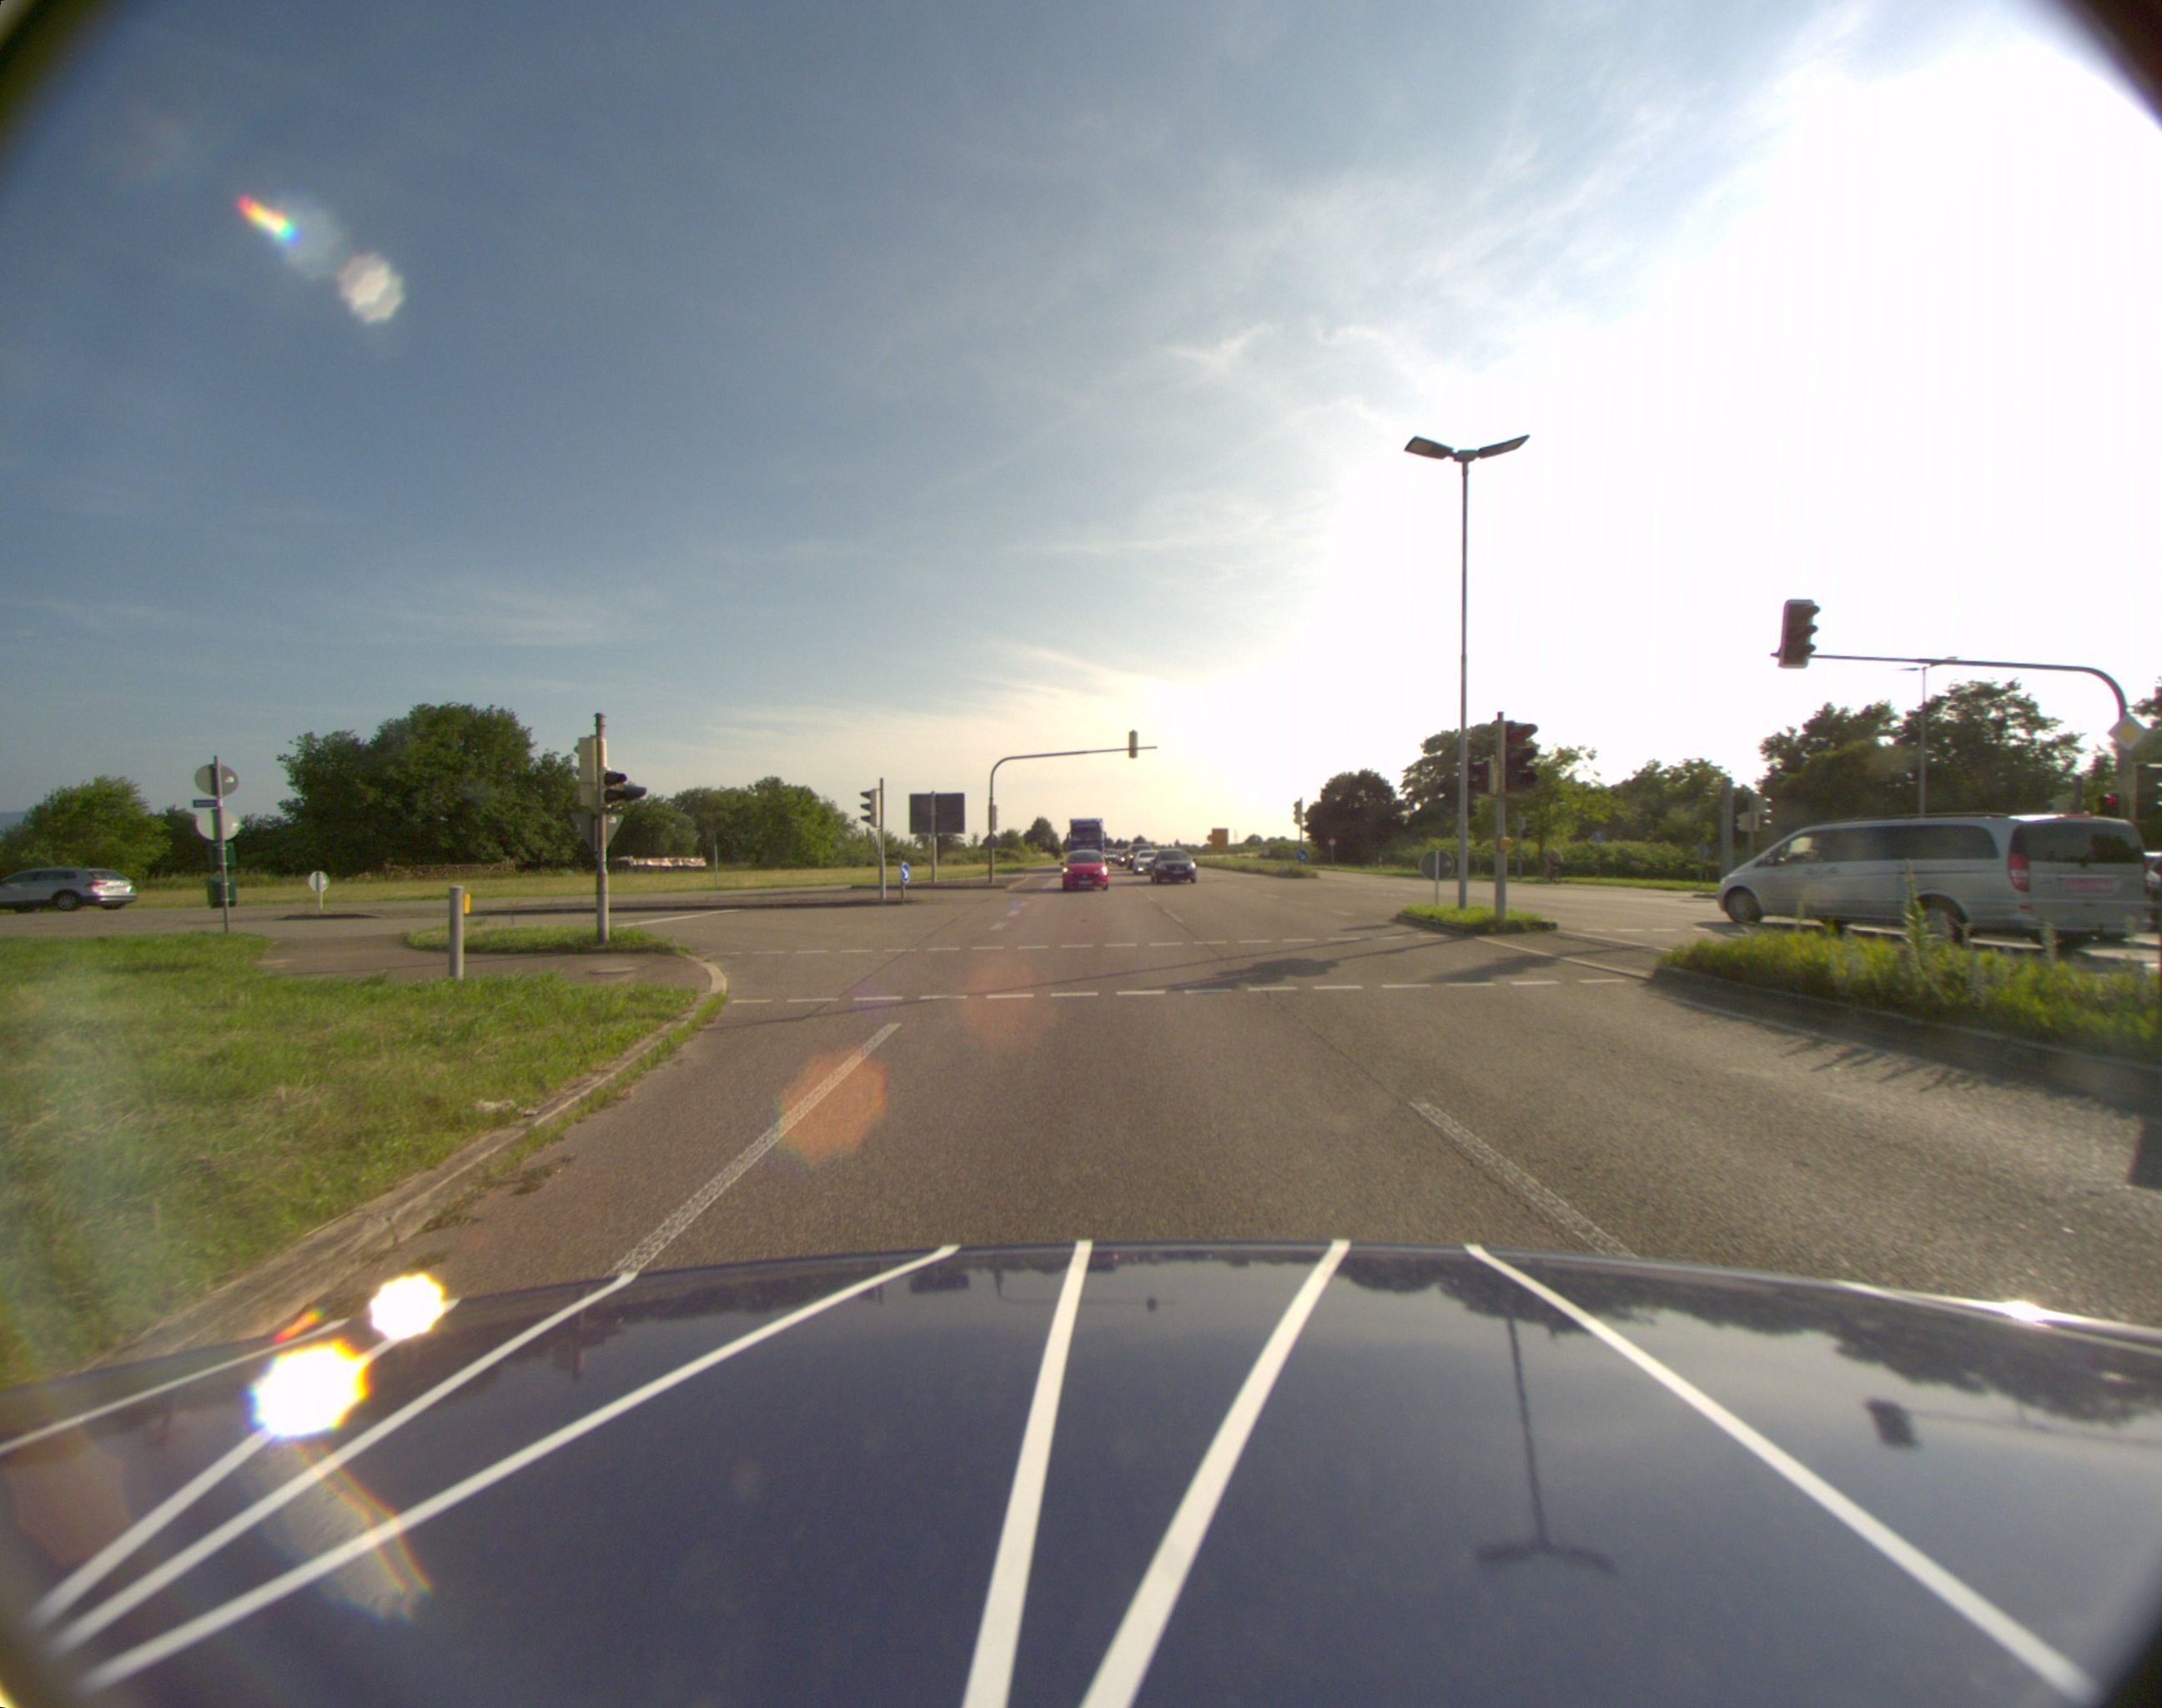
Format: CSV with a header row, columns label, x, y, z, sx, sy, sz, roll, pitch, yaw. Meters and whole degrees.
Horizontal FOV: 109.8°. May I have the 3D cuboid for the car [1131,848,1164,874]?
label,x,y,z,sx,sy,sz,roll,pitch,yaw
car,3.959,0.372,45.703,1.636,1.442,4.000,-2,1,1

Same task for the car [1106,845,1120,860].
label,x,y,z,sx,sy,sz,roll,pitch,yaw
car,4.016,-0.229,95.016,1.636,1.833,4.000,-2,1,1

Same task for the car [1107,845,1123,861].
label,x,y,z,sx,sy,sz,roll,pitch,yaw
car,3.865,-0.136,87.220,1.636,1.833,4.000,-2,1,1

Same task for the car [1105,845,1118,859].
label,x,y,z,sx,sy,sz,roll,pitch,yaw
car,4.074,-0.320,102.893,1.636,1.833,4.000,-2,1,1

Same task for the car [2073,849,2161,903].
label,x,y,z,sx,sy,sz,roll,pitch,yaw
car,42.511,0.817,29.712,4.844,1.876,2.253,-2,1,-4

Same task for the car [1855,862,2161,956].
label,x,y,z,sx,sy,sz,roll,pitch,yaw
car,16.832,0.885,13.622,1.862,1.337,3.960,2,1,1

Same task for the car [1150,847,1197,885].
label,x,y,z,sx,sy,sz,roll,pitch,yaw
car,3.997,0.464,33.324,1.636,1.500,4.000,-2,1,1

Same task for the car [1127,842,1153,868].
label,x,y,z,sx,sy,sz,roll,pitch,yaw
car,4.376,0.063,56.530,1.636,1.833,4.000,-2,1,1

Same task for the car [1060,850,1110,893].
label,x,y,z,sx,sy,sz,roll,pitch,yaw
car,0.192,0.614,29.224,1.735,1.467,4.000,-2,1,1

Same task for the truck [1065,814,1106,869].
label,x,y,z,sx,sy,sz,roll,pitch,yaw
truck,0.434,-0.964,59.631,2.849,3.897,10.103,-2,1,1

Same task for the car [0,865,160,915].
label,x,y,z,sx,sy,sz,roll,pitch,yaw
car,-38.224,1.326,28.629,4.002,1.641,1.997,-2,1,-14

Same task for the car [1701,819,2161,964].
label,x,y,z,sx,sy,sz,roll,pitch,yaw
car,13.185,0.460,12.386,1.998,1.818,5.078,2,1,1

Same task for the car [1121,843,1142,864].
label,x,y,z,sx,sy,sz,roll,pitch,yaw
car,4.502,-0.078,68.649,1.636,1.833,4.000,-2,1,1
